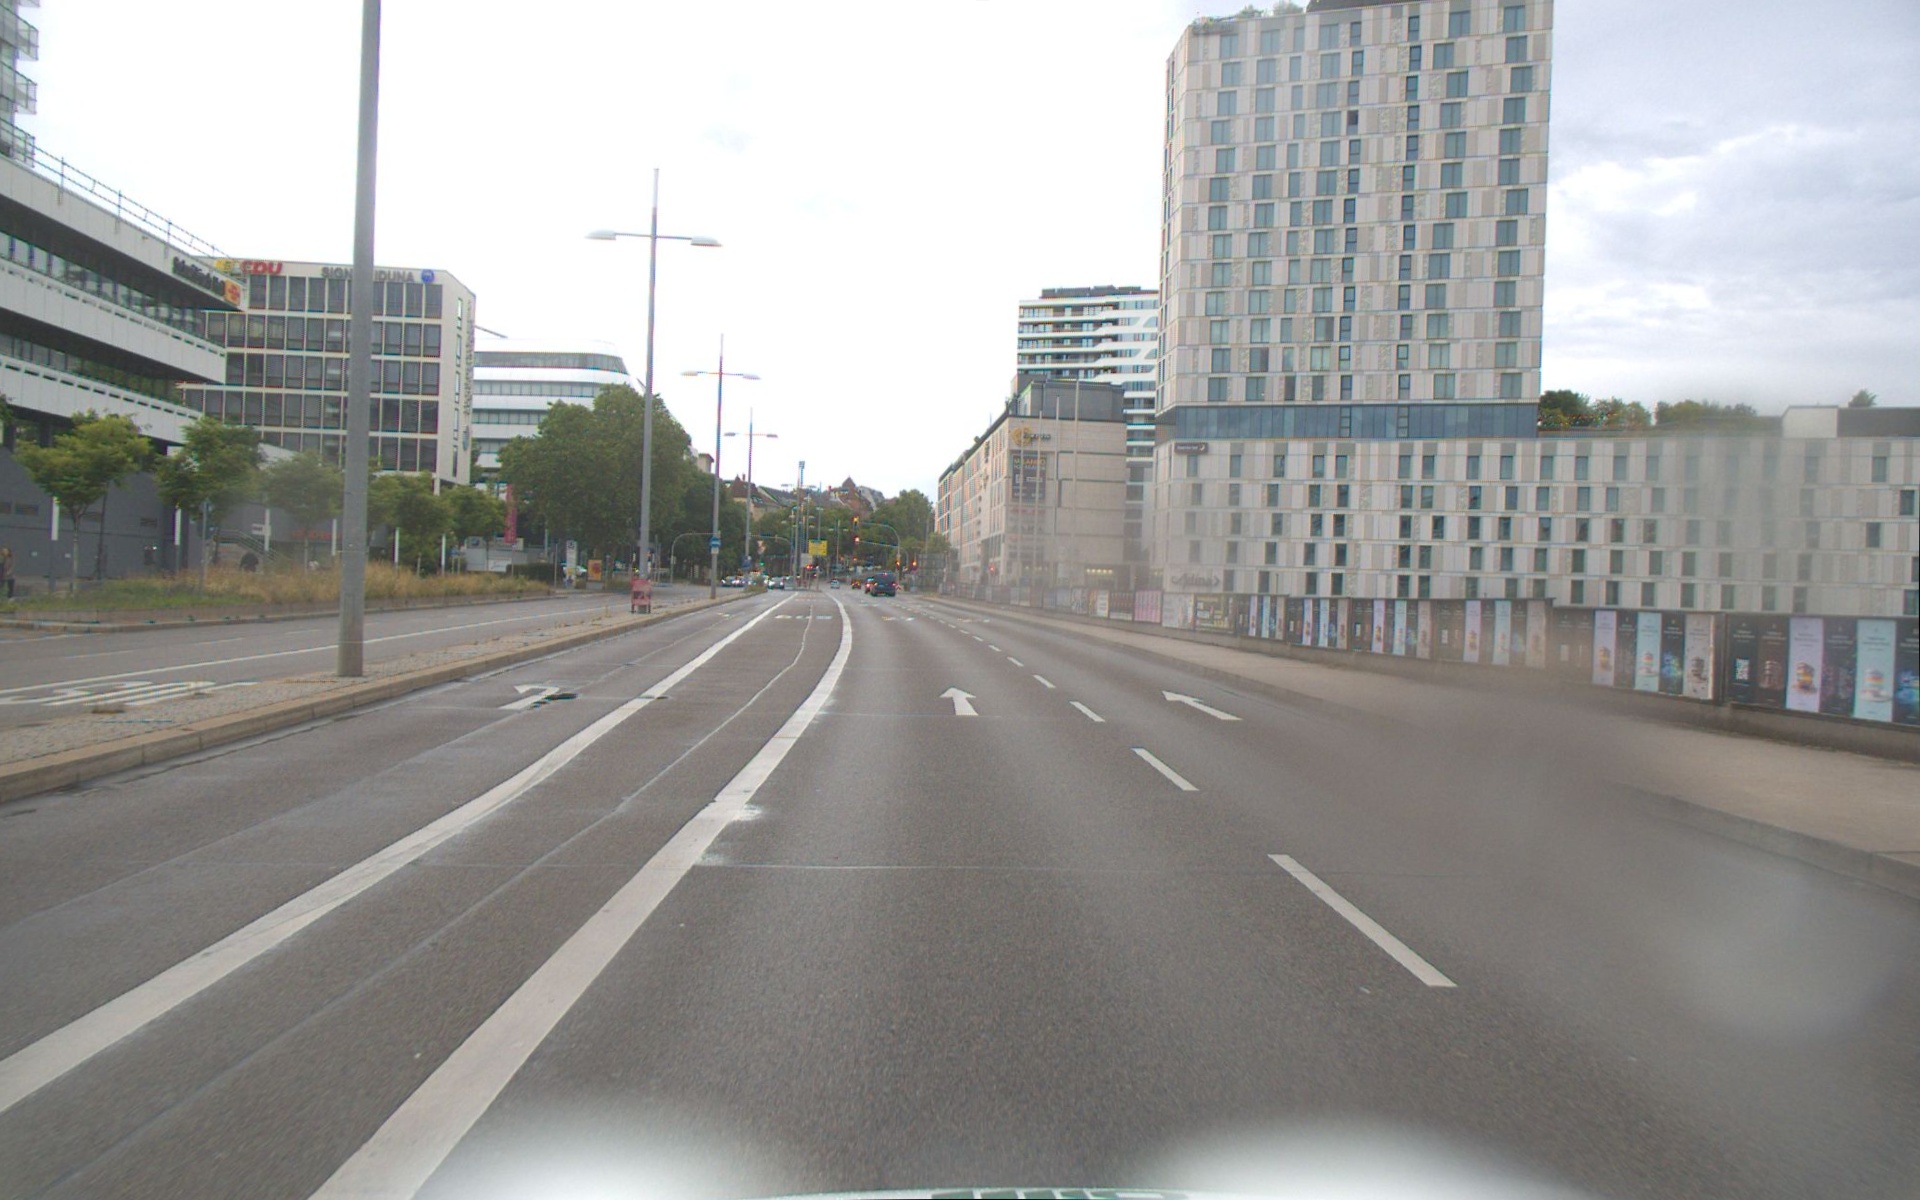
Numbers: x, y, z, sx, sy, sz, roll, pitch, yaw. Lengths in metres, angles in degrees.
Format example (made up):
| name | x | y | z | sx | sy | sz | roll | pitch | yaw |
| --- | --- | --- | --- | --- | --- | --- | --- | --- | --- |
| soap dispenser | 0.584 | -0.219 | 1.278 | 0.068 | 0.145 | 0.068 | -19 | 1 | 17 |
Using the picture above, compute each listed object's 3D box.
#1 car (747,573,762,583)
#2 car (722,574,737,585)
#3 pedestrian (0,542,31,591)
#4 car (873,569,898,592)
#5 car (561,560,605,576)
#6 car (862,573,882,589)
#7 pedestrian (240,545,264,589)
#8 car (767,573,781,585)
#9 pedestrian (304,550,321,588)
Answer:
| name | x | y | z | sx | sy | sz | roll | pitch | yaw |
| --- | --- | --- | --- | --- | --- | --- | --- | --- | --- |
| car | -26.638 | -2.824 | 214.296 | 1.709 | 1.279 | 3.536 | 2 | 1 | -5 |
| car | -29.748 | -2.681 | 213.666 | 1.709 | 1.352 | 4.221 | 1 | 0 | -5 |
| pedestrian | -28.821 | -1.009 | 50.349 | 0.605 | 1.471 | 0.798 | 1 | 0 | -3 |
| car | -6.506 | -1.706 | 144.207 | 1.993 | 1.915 | 5.038 | -2 | 2 | -4 |
| car | -42.067 | -3.550 | 184.437 | 4.405 | 1.660 | 1.896 | 1 | 0 | 11 |
| car | -9.011 | -1.899 | 168.796 | 1.707 | 1.558 | 3.806 | 1 | 0 | -8 |
| pedestrian | -30.023 | -1.416 | 70.149 | 0.769 | 1.839 | 0.628 | 1 | 0 | -5 |
| car | -24.023 | -2.692 | 213.772 | 1.709 | 1.470 | 3.391 | 1 | 0 | -5 |
| pedestrian | -32.195 | -1.533 | 82.270 | 0.617 | 1.839 | 0.628 | 1 | 0 | -4 |
